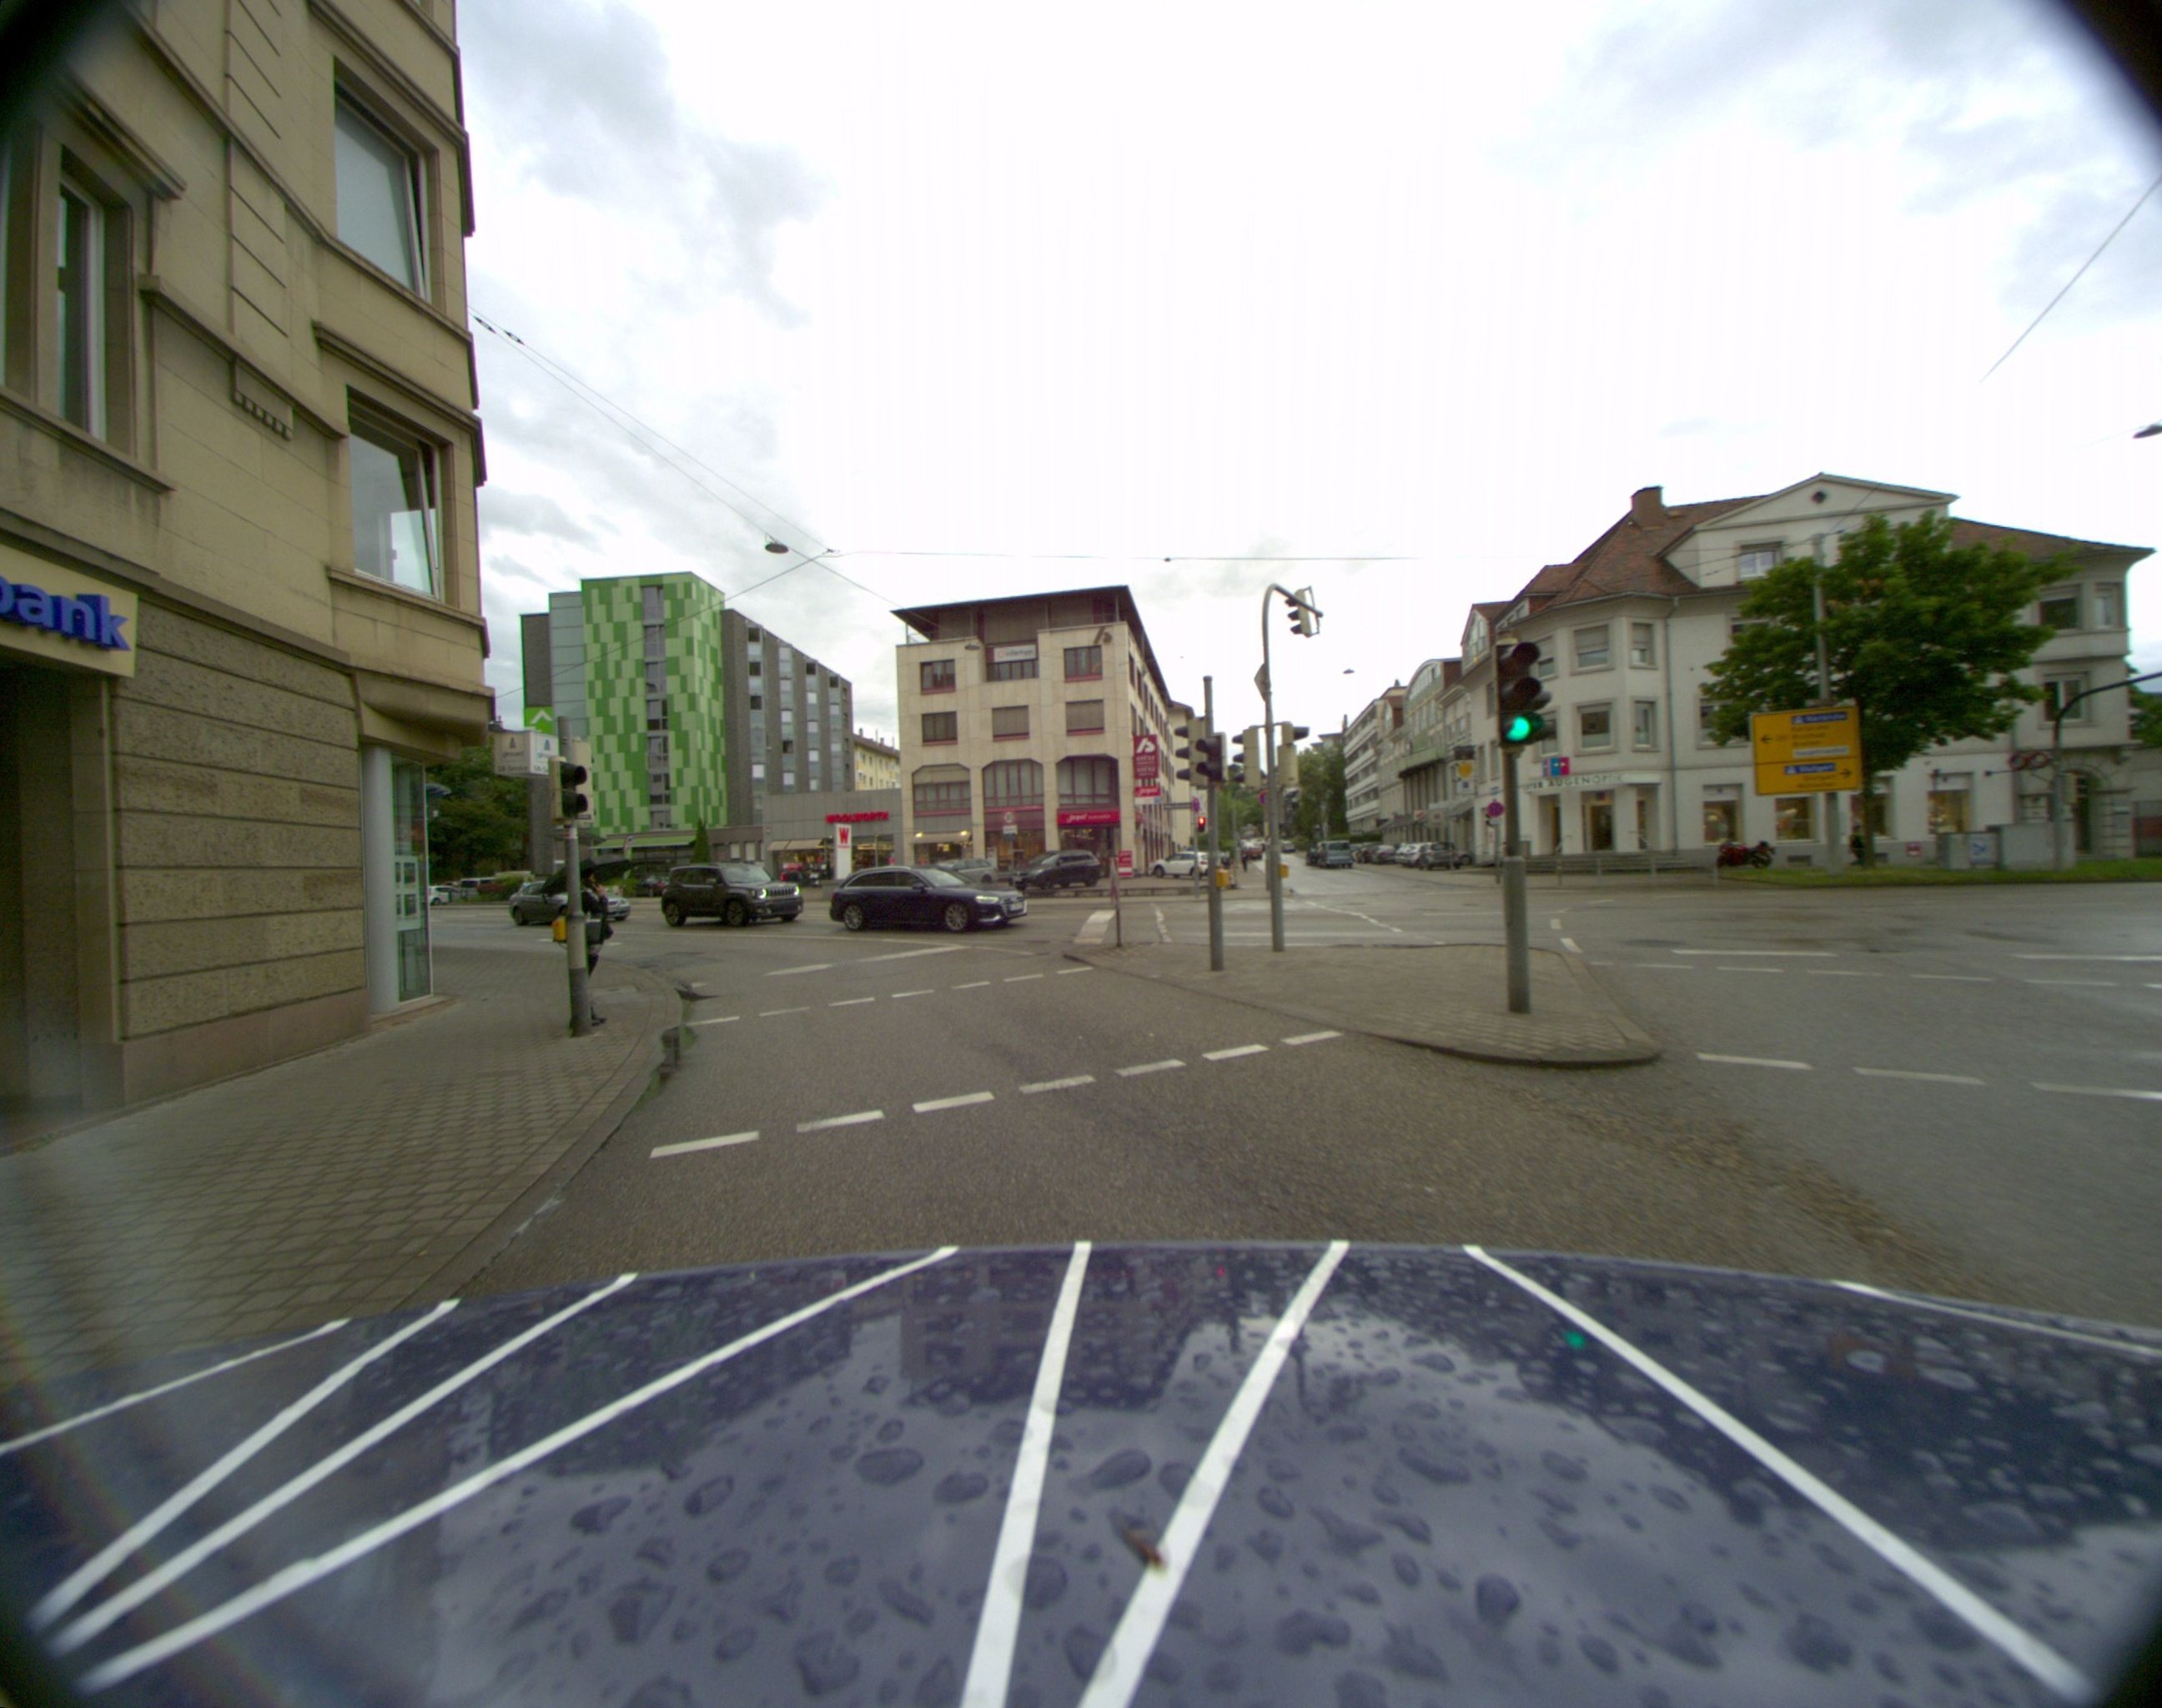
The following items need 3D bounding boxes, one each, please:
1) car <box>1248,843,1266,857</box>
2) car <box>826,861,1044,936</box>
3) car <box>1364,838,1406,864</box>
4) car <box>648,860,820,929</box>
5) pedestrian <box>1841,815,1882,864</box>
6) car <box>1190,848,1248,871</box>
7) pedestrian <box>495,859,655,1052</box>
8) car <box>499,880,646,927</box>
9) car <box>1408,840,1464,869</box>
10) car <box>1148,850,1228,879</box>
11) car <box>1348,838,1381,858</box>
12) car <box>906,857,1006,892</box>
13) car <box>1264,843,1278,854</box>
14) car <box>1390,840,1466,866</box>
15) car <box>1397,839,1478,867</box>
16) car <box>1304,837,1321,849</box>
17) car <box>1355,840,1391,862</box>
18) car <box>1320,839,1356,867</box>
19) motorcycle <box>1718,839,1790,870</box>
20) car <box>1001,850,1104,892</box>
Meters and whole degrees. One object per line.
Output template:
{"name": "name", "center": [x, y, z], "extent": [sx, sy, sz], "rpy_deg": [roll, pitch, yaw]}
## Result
{"name": "car", "center": [20.864, -0.461, 90.020], "extent": [1.997, 1.576, 4.663], "rpy_deg": [-2, 1, 12]}
{"name": "car", "center": [-3.281, 0.944, 16.925], "extent": [4.518, 1.409, 1.936], "rpy_deg": [-2, 1, 29]}
{"name": "car", "center": [21.861, -0.220, 54.768], "extent": [1.997, 1.575, 4.003], "rpy_deg": [-8, -1, 12]}
{"name": "car", "center": [-9.367, 1.061, 20.502], "extent": [4.190, 1.651, 1.936], "rpy_deg": [-2, 1, 26]}
{"name": "pedestrian", "center": [27.773, -0.510, 27.037], "extent": [0.754, 1.719, 0.683], "rpy_deg": [-2, 1, 16]}
{"name": "car", "center": [10.110, 0.425, 55.419], "extent": [3.993, 1.499, 2.002], "rpy_deg": [-2, 1, 13]}
{"name": "pedestrian", "center": [-5.122, 0.956, 7.804], "extent": [0.955, 1.769, 1.183], "rpy_deg": [-2, 1, -15]}
{"name": "car", "center": [-16.016, 1.512, 23.924], "extent": [4.189, 1.275, 1.936], "rpy_deg": [-1, 1, 26]}
{"name": "car", "center": [19.548, -0.003, 42.006], "extent": [1.997, 1.499, 4.003], "rpy_deg": [-2, 1, 13]}
{"name": "car", "center": [5.851, 0.591, 41.849], "extent": [3.989, 1.486, 1.804], "rpy_deg": [-2, 1, 44]}
{"name": "car", "center": [24.092, -0.512, 64.696], "extent": [1.997, 1.576, 4.003], "rpy_deg": [-2, 1, 12]}
{"name": "car", "center": [-5.638, 0.903, 34.736], "extent": [1.928, 1.353, 4.208], "rpy_deg": [-2, 1, 40]}
{"name": "car", "center": [29.683, -0.845, 118.944], "extent": [1.997, 1.576, 4.663], "rpy_deg": [-2, 1, 12]}
{"name": "car", "center": [21.999, -0.092, 48.299], "extent": [3.994, 1.499, 2.001], "rpy_deg": [-2, 1, 10]}
{"name": "car", "center": [21.439, -0.047, 45.835], "extent": [3.994, 1.499, 2.001], "rpy_deg": [-2, 1, 10]}
{"name": "car", "center": [33.269, -1.565, 109.310], "extent": [1.997, 1.576, 4.663], "rpy_deg": [-2, 1, 12]}
{"name": "car", "center": [23.091, -0.264, 60.167], "extent": [1.997, 1.576, 4.003], "rpy_deg": [-2, 1, 12]}
{"name": "car", "center": [18.564, -0.120, 55.076], "extent": [1.997, 1.904, 4.003], "rpy_deg": [-2, 1, 12]}
{"name": "motorcycle", "center": [26.219, 0.019, 29.630], "extent": [2.009, 1.142, 0.720], "rpy_deg": [-2, 1, 14]}
{"name": "car", "center": [-1.160, 0.690, 32.386], "extent": [1.928, 1.540, 4.266], "rpy_deg": [-1, 1, 42]}
